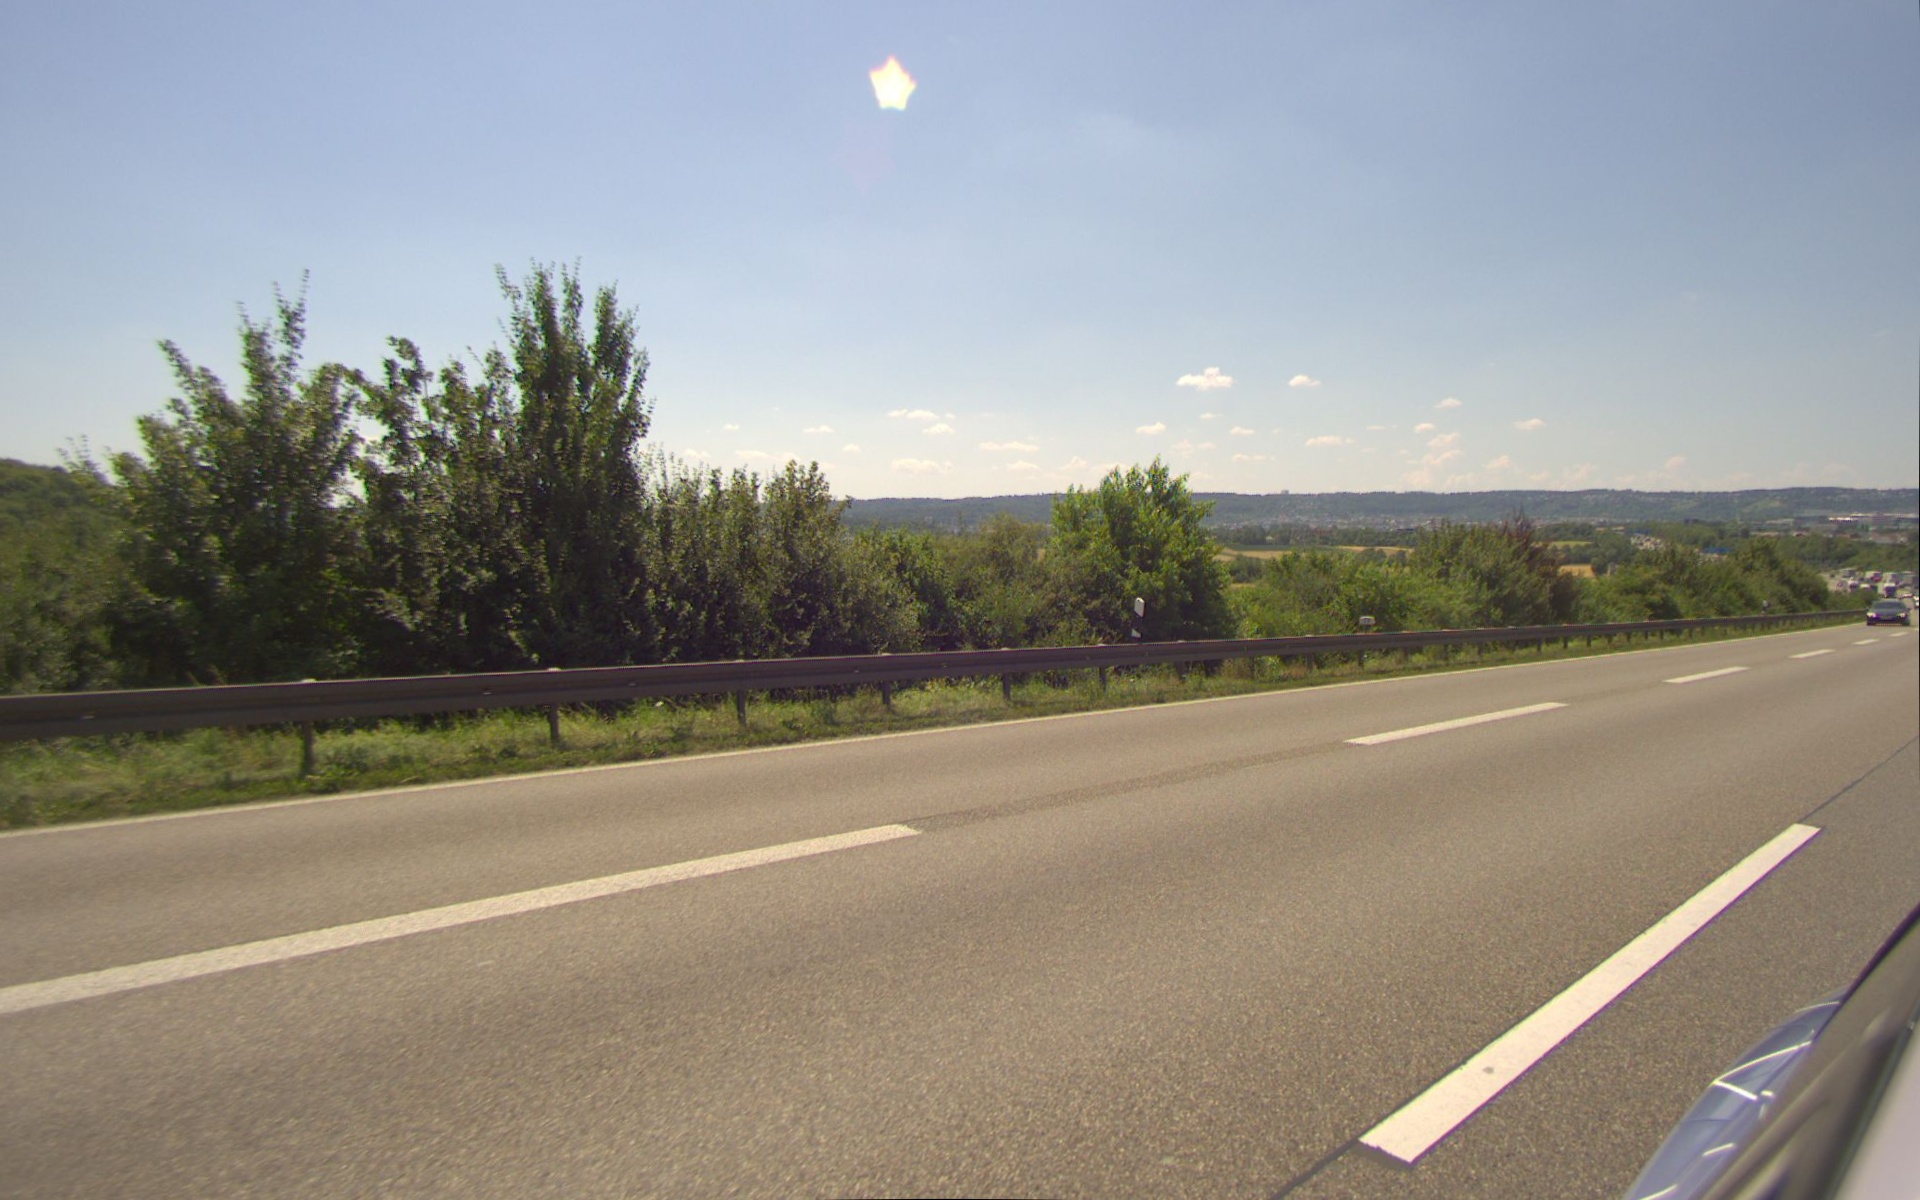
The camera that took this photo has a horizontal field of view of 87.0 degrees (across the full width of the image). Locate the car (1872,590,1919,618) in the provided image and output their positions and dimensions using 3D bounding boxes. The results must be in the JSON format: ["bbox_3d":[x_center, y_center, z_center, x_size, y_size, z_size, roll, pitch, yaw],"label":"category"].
[{"bbox_3d":[54.305,0.184,58.695,2.031,1.571,3.937,0,0,43],"label":"car"}]
